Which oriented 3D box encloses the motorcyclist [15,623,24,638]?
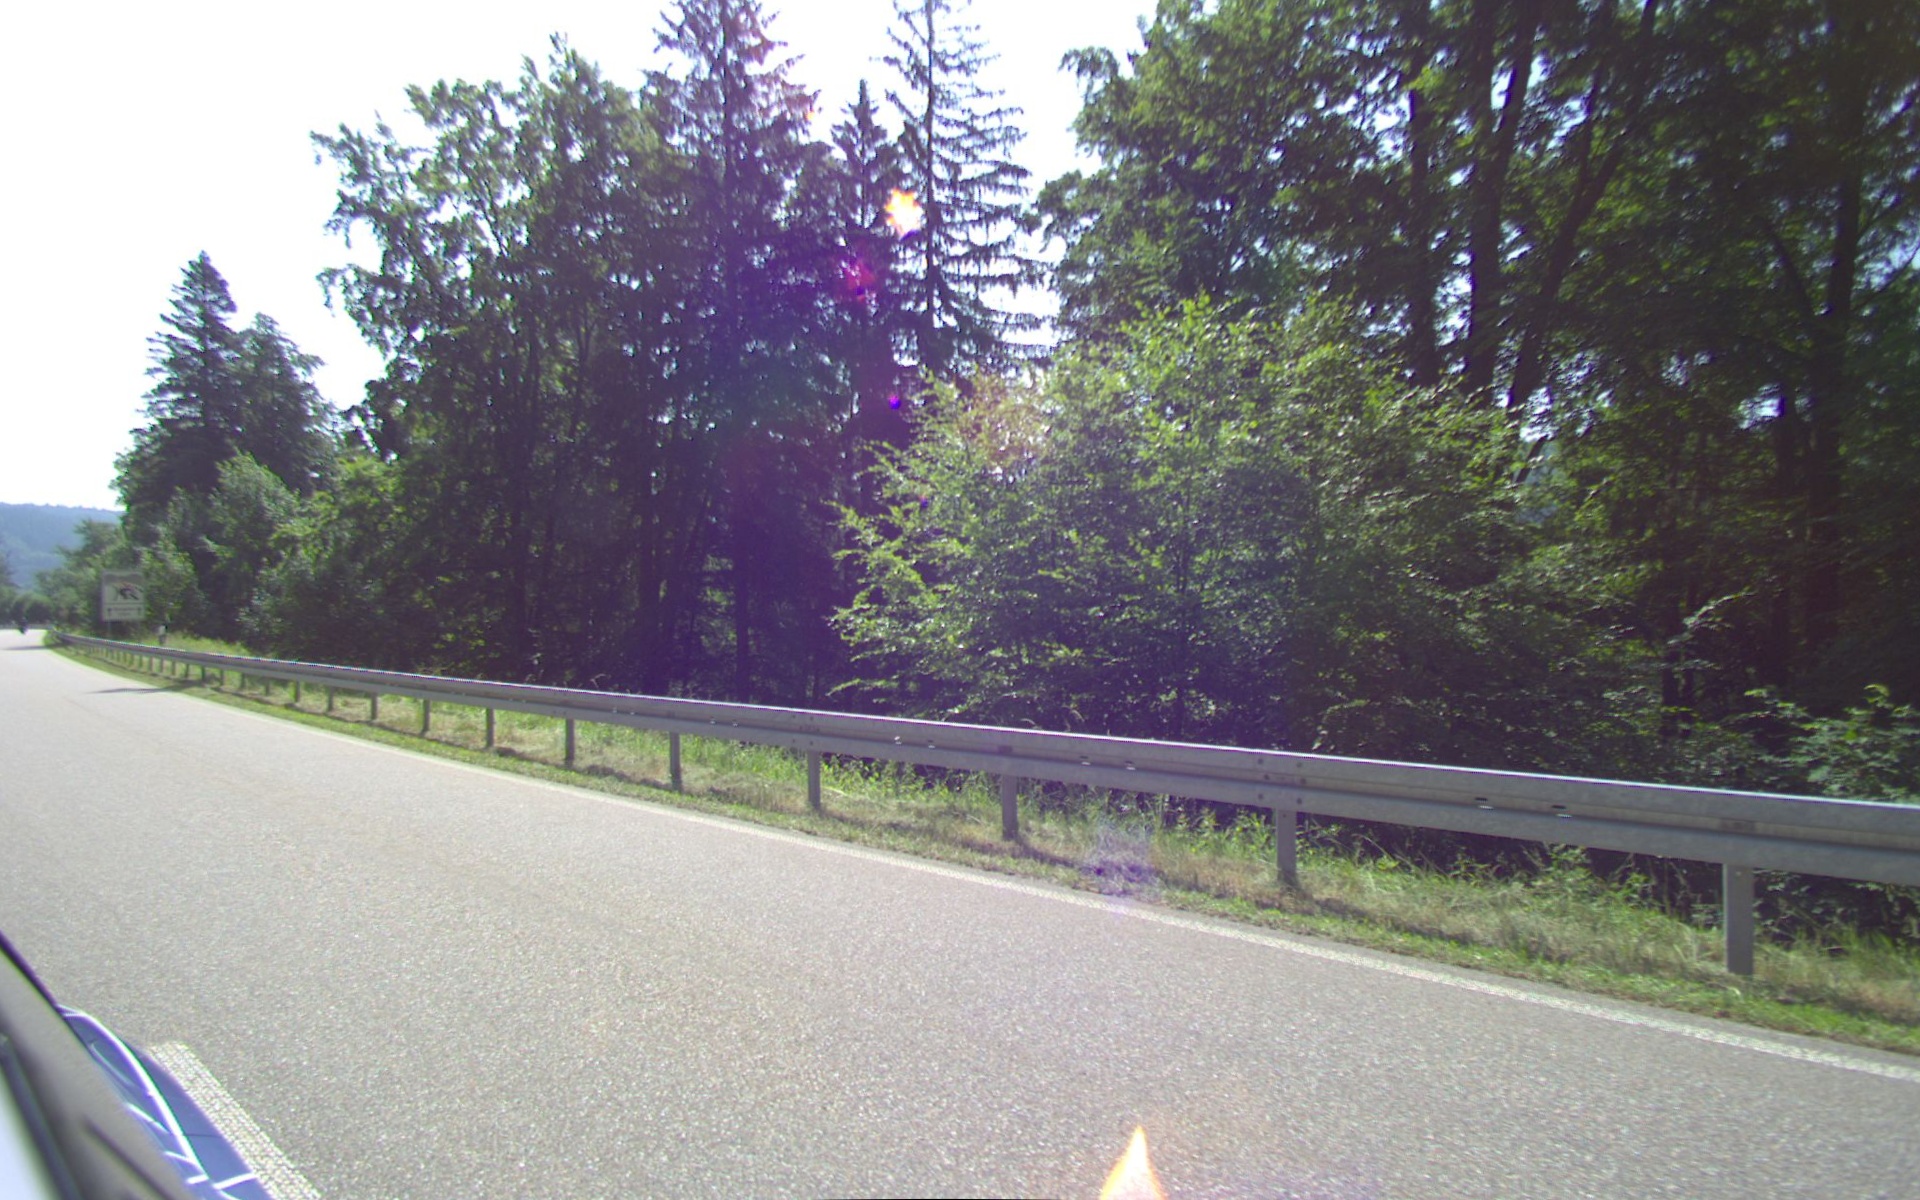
[{"bbox_3d":[-98.032,3.190,105.498,0.650,1.524,0.935,1,-2,-40],"label":"motorcyclist"}]

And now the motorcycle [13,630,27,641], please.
[{"bbox_3d":[-97.990,3.665,105.501,0.972,1.079,1.966,0,-1,-40],"label":"motorcycle"}]
